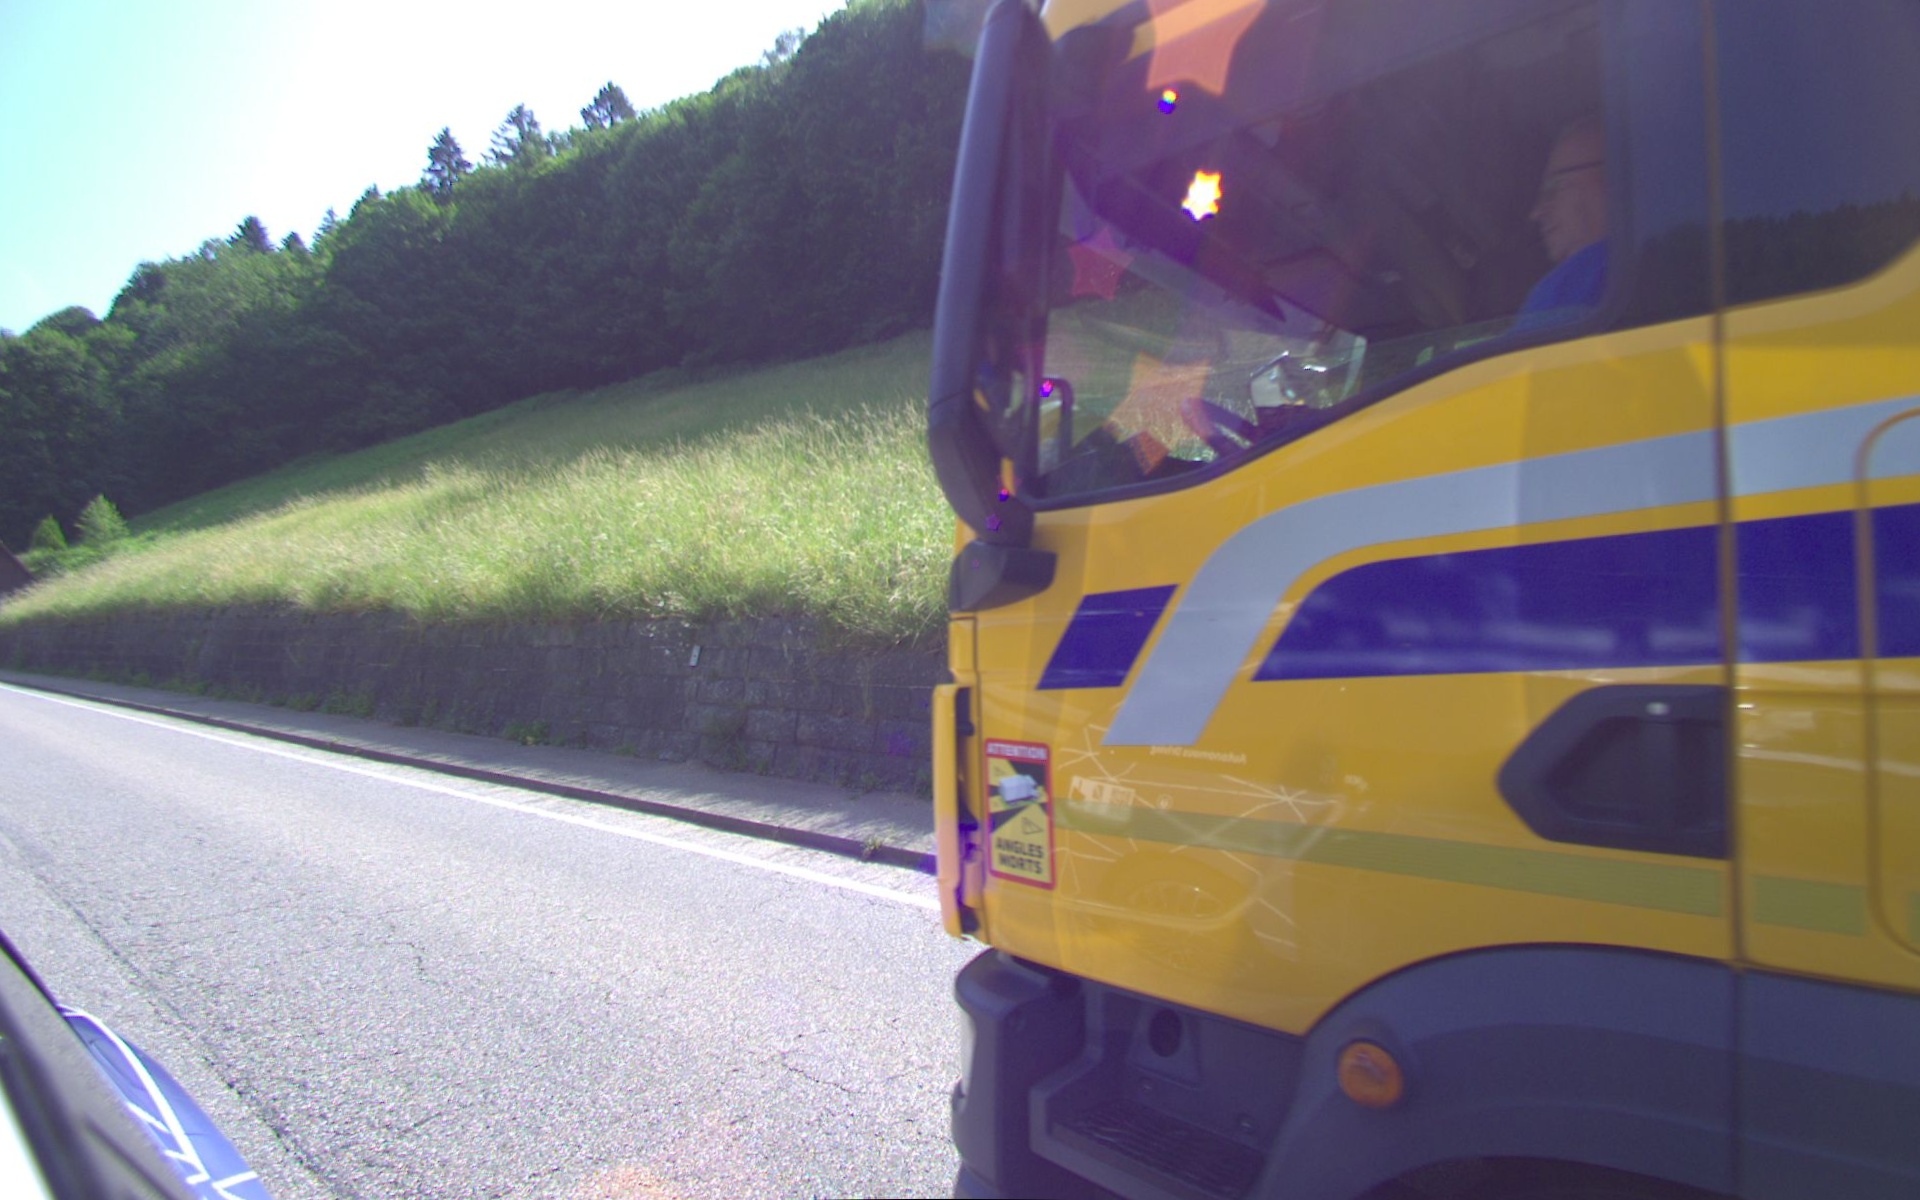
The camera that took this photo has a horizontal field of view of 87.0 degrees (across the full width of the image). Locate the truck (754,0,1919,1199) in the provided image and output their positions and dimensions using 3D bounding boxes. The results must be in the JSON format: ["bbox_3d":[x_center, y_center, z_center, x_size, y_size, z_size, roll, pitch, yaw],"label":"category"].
[{"bbox_3d":[3.125,-0.770,0.763,6.569,4.430,3.154,-4,-2,42],"label":"truck"}]
